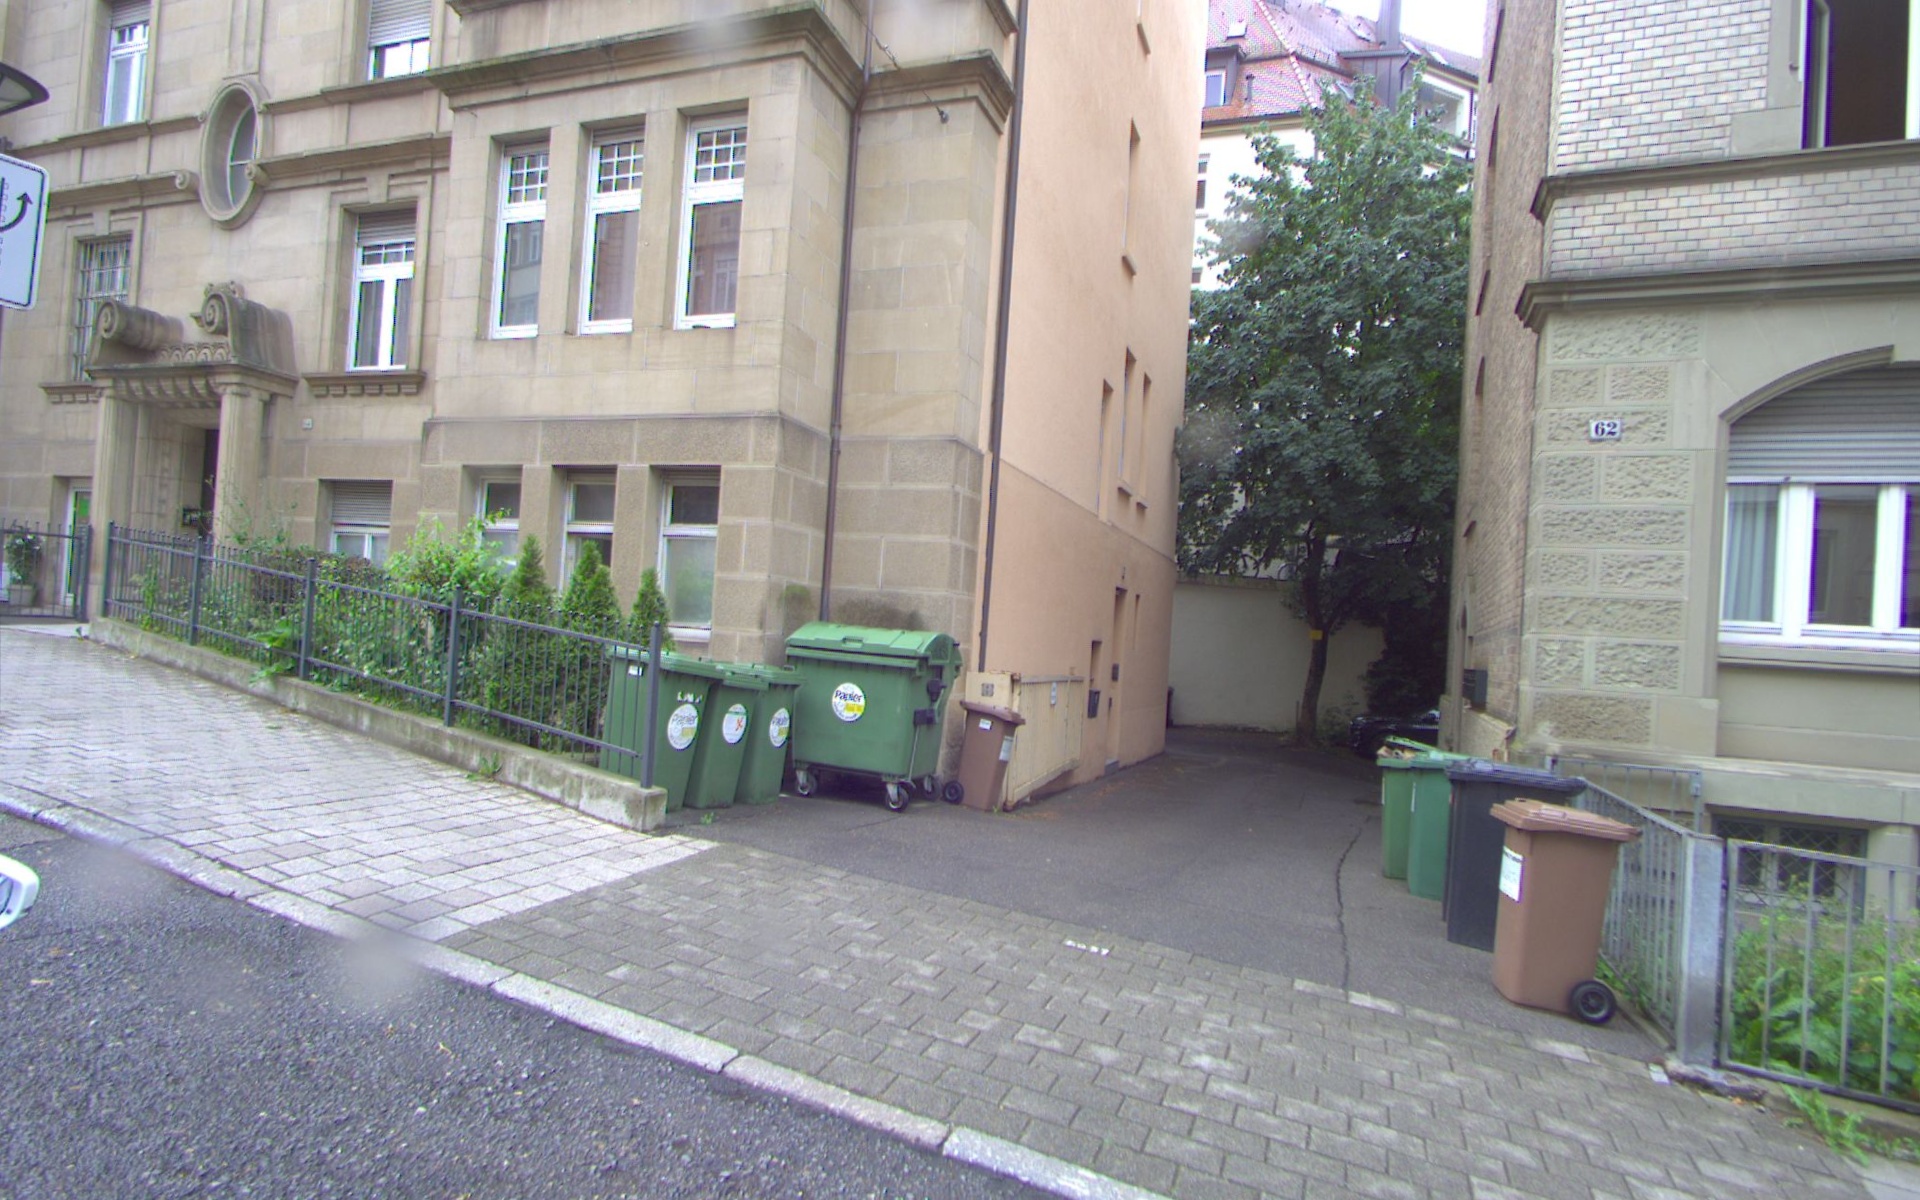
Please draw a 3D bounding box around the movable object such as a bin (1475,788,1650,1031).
[{"bbox_3d":[2.815,1.426,4.744,0.527,0.932,0.427,7,2,20],"label":"movable object such as a bin"}]

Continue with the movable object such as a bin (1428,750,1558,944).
[{"bbox_3d":[3.389,1.543,6.432,0.598,1.072,0.501,6,-3,24],"label":"movable object such as a bin"}]

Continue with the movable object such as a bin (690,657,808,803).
[{"bbox_3d":[-1.650,1.014,7.910,0.593,1.037,0.540,6,-4,20],"label":"movable object such as a bin"}]

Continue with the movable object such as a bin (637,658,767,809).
[{"bbox_3d":[-1.861,0.959,7.301,0.593,0.978,0.540,6,-4,20],"label":"movable object such as a bin"}]

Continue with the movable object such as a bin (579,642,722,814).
[{"bbox_3d":[-2.066,0.852,6.760,0.593,1.037,0.540,6,-4,20],"label":"movable object such as a bin"}]

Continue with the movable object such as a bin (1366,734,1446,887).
[{"bbox_3d":[3.601,1.677,8.137,0.469,1.113,0.521,6,-3,23],"label":"movable object such as a bin"}]

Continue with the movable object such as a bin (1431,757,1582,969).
[{"bbox_3d":[3.165,1.485,5.847,0.653,1.041,0.529,6,-4,30],"label":"movable object such as a bin"}]

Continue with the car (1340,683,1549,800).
[{"bbox_3d":[10.996,3.133,22.977,3.930,1.530,1.796,13,5,28],"label":"car"}]

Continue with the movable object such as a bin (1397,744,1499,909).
[{"bbox_3d":[3.576,1.639,7.404,0.545,1.072,0.498,6,-3,24],"label":"movable object such as a bin"}]

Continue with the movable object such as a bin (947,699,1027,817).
[{"bbox_3d":[0.244,1.398,8.977,0.510,0.952,0.395,6,-4,20],"label":"movable object such as a bin"}]

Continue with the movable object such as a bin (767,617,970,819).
[{"bbox_3d":[-0.743,0.979,8.482,1.256,1.447,0.976,6,-4,20],"label":"movable object such as a bin"}]
